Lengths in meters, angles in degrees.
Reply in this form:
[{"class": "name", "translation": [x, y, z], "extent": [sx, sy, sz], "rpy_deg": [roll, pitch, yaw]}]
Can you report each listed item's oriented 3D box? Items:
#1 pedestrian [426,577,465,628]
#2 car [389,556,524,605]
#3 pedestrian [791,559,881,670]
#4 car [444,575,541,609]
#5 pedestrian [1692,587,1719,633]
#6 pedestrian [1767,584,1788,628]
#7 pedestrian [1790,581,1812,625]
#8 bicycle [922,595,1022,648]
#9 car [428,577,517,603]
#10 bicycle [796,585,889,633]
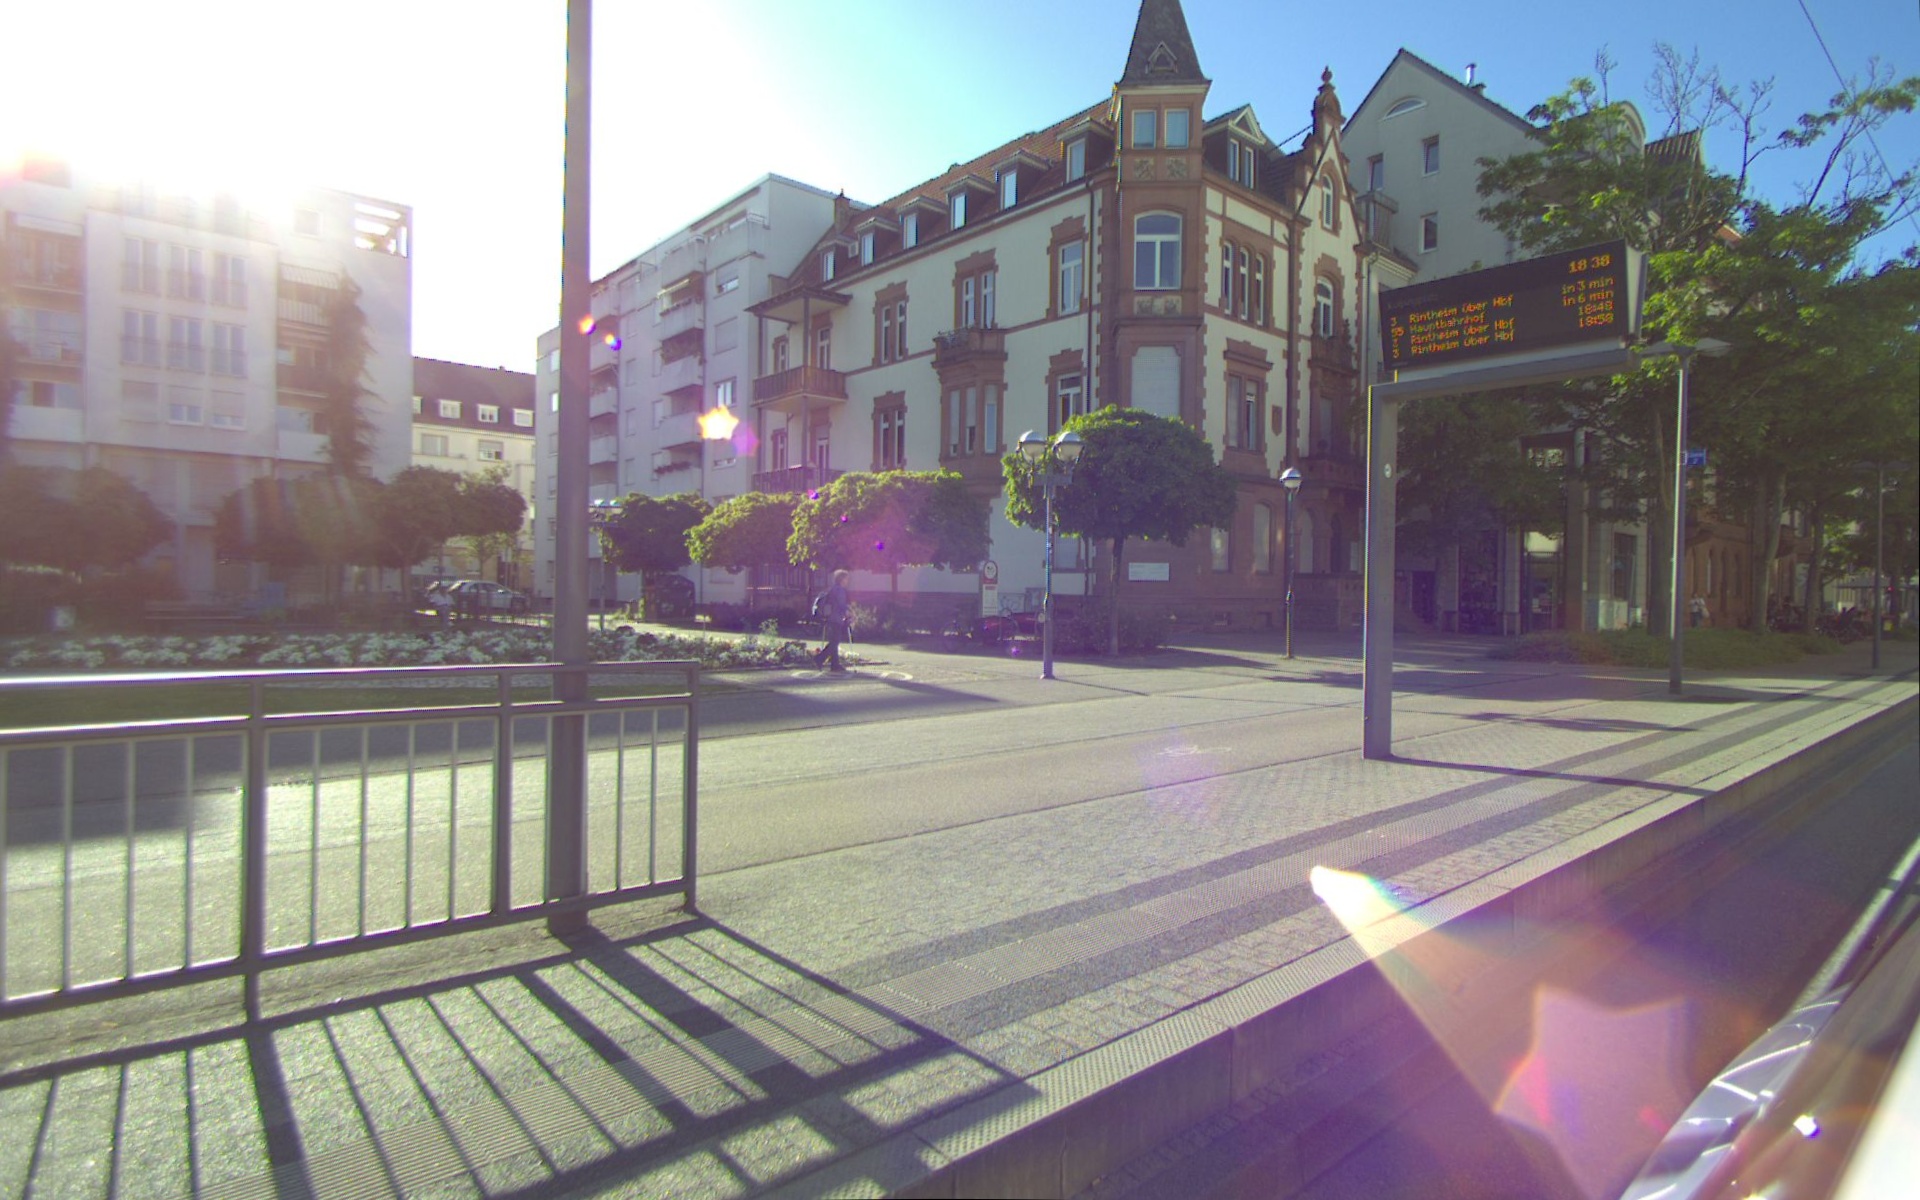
[{"class": "pedestrian", "translation": [-14.866, 0.063, 29.224], "extent": [0.917, 1.429, 1.529], "rpy_deg": [0, 0, -30]}, {"class": "car", "translation": [-28.376, -1.059, 57.183], "extent": [6.290, 2.587, 2.808], "rpy_deg": [0, 1, -44]}, {"class": "pedestrian", "translation": [-1.975, 0.214, 16.133], "extent": [1.064, 1.689, 0.944], "rpy_deg": [1, 0, 37]}, {"class": "car", "translation": [-22.120, -0.377, 47.935], "extent": [3.923, 1.536, 2.001], "rpy_deg": [0, 1, -34]}, {"class": "pedestrian", "translation": [28.881, 0.371, 39.183], "extent": [0.740, 1.757, 0.864], "rpy_deg": [1, 0, 43]}, {"class": "pedestrian", "translation": [38.275, 0.255, 47.384], "extent": [0.549, 2.039, 0.654], "rpy_deg": [1, 0, -38]}, {"class": "pedestrian", "translation": [38.848, 0.135, 46.735], "extent": [0.549, 2.039, 0.654], "rpy_deg": [1, 0, -38]}, {"class": "bicycle", "translation": [0.324, 0.477, 23.825], "extent": [0.786, 1.081, 2.767], "rpy_deg": [1, 2, 40]}, {"class": "car", "translation": [-25.091, -0.501, 52.120], "extent": [3.923, 1.304, 2.001], "rpy_deg": [0, 1, -34]}, {"class": "bicycle", "translation": [-3.524, 0.257, 30.654], "extent": [2.864, 1.389, 0.745], "rpy_deg": [0, 1, -41]}]
